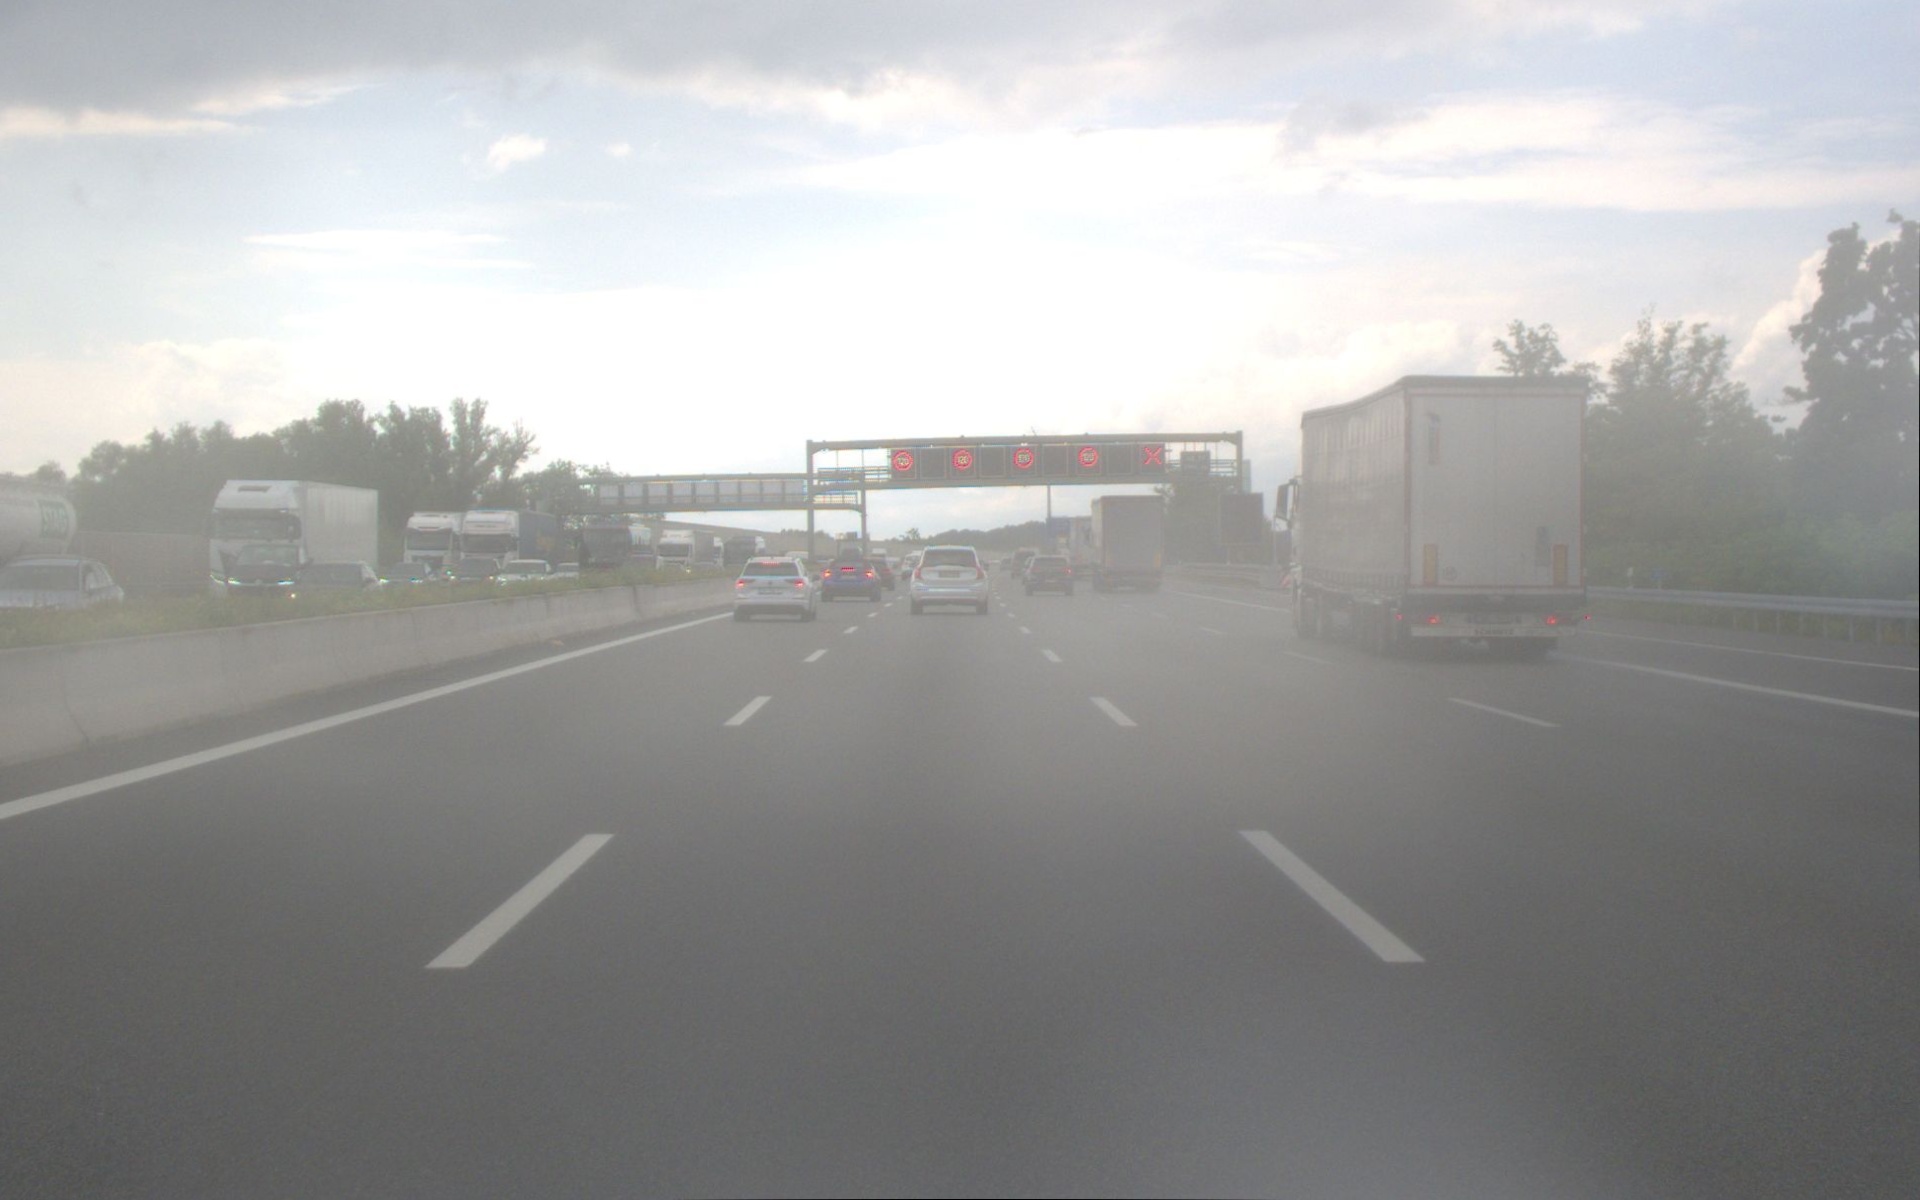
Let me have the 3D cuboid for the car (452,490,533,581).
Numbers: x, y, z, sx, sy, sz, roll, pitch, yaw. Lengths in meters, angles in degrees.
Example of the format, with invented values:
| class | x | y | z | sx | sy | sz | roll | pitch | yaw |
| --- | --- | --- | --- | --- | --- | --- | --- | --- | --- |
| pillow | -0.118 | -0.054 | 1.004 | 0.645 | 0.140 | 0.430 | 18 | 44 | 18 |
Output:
| class | x | y | z | sx | sy | sz | roll | pitch | yaw |
| --- | --- | --- | --- | --- | --- | --- | --- | --- | --- |
| car | -21.868 | -3.008 | 161.047 | 2.982 | 4.135 | 6.043 | 1 | 1 | -1 |

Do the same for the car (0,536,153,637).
| class | x | y | z | sx | sy | sz | roll | pitch | yaw |
| --- | --- | --- | --- | --- | --- | --- | --- | --- | --- |
| car | -14.166 | -0.238 | 54.105 | 1.993 | 1.521 | 4.741 | 0 | 1 | -2 |

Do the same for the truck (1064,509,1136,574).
| class | x | y | z | sx | sy | sz | roll | pitch | yaw |
| --- | --- | --- | --- | --- | --- | --- | --- | --- | --- |
| truck | 9.167 | -3.832 | 226.643 | 4.244 | 4.162 | 11.989 | 1 | 1 | 0 |

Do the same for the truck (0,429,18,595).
| class | x | y | z | sx | sy | sz | roll | pitch | yaw |
| --- | --- | --- | --- | --- | --- | --- | --- | --- | --- |
| truck | -26.815 | -2.283 | 87.083 | 3.660 | 4.304 | 8.238 | 1 | 1 | 0 |

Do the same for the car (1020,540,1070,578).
| class | x | y | z | sx | sy | sz | roll | pitch | yaw |
| --- | --- | --- | --- | --- | --- | --- | --- | --- | --- |
| car | 3.271 | -1.575 | 132.158 | 1.836 | 1.436 | 4.055 | 0 | 1 | 0 |

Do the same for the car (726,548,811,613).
| class | x | y | z | sx | sy | sz | roll | pitch | yaw |
| --- | --- | --- | --- | --- | --- | --- | --- | --- | --- |
| car | -4.339 | -0.465 | 78.224 | 1.772 | 1.436 | 3.874 | 0 | 1 | -1 |

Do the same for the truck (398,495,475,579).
| class | x | y | z | sx | sy | sz | roll | pitch | yaw |
| --- | --- | --- | --- | --- | --- | --- | --- | --- | --- |
| truck | -26.307 | -3.174 | 172.994 | 2.900 | 4.102 | 6.623 | 1 | 1 | -1 |

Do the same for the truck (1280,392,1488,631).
| class | x | y | z | sx | sy | sz | roll | pitch | yaw |
| --- | --- | --- | --- | --- | --- | --- | --- | --- | --- |
| truck | 7.452 | -1.557 | 61.232 | 2.961 | 4.006 | 6.589 | 0 | 1 | 1 |

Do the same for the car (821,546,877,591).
| class | x | y | z | sx | sy | sz | roll | pitch | yaw |
| --- | --- | --- | --- | --- | --- | --- | --- | --- | --- |
| car | -3.616 | -1.048 | 112.231 | 1.772 | 1.436 | 4.056 | 0 | 1 | -1 |

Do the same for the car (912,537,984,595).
| class | x | y | z | sx | sy | sz | roll | pitch | yaw |
| --- | --- | --- | --- | --- | --- | --- | --- | --- | --- |
| car | -0.328 | -0.885 | 87.886 | 1.772 | 1.436 | 4.056 | 0 | 1 | -1 |

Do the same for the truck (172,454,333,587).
| class | x | y | z | sx | sy | sz | roll | pitch | yaw |
| --- | --- | --- | --- | --- | --- | --- | --- | --- | --- |
| truck | -22.354 | -2.483 | 109.004 | 3.660 | 4.034 | 6.524 | 1 | 1 | 0 |

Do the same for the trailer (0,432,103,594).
| class | x | y | z | sx | sy | sz | roll | pitch | yaw |
| --- | --- | --- | --- | --- | --- | --- | --- | --- | --- |
| trailer | -26.888 | -2.359 | 94.392 | 3.660 | 4.222 | 12.468 | 1 | 1 | 0 |

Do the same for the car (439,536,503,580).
| class | x | y | z | sx | sy | sz | roll | pitch | yaw |
| --- | --- | --- | --- | --- | --- | --- | --- | --- | --- |
| car | -18.032 | -1.558 | 126.961 | 1.787 | 1.557 | 4.565 | 1 | 1 | -1 |

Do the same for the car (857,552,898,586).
| class | x | y | z | sx | sy | sz | roll | pitch | yaw |
| --- | --- | --- | --- | --- | --- | --- | --- | --- | --- |
| car | -3.609 | -1.345 | 150.254 | 1.772 | 1.436 | 4.056 | 0 | 1 | -2 |

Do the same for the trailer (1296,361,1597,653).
| class | x | y | z | sx | sy | sz | roll | pitch | yaw |
| --- | --- | --- | --- | --- | --- | --- | --- | --- | --- |
| trailer | 7.386 | -1.413 | 54.432 | 2.961 | 4.006 | 14.118 | 0 | 1 | 1 |

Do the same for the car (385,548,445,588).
| class | x | y | z | sx | sy | sz | roll | pitch | yaw |
| --- | --- | --- | --- | --- | --- | --- | --- | --- | --- |
| car | -22.111 | -1.311 | 139.579 | 1.787 | 1.586 | 4.385 | 1 | 1 | -1 |

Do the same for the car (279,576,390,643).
| class | x | y | z | sx | sy | sz | roll | pitch | yaw |
| --- | --- | --- | --- | --- | --- | --- | --- | --- | --- |
| car | -14.354 | 0.199 | 79.102 | 1.787 | 1.449 | 4.565 | 1 | 1 | -1 |

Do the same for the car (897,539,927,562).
| class | x | y | z | sx | sy | sz | roll | pitch | yaw |
| --- | --- | --- | --- | --- | --- | --- | --- | --- | --- |
| car | -3.051 | -3.166 | 218.787 | 1.772 | 1.436 | 4.055 | 0 | 1 | 0 |

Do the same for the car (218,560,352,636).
| class | x | y | z | sx | sy | sz | roll | pitch | yaw |
| --- | --- | --- | --- | --- | --- | --- | --- | --- | --- |
| car | -18.337 | -0.082 | 93.695 | 2.280 | 1.961 | 6.086 | 1 | 1 | 1 |

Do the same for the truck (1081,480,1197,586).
| class | x | y | z | sx | sy | sz | roll | pitch | yaw |
| --- | --- | --- | --- | --- | --- | --- | --- | --- | --- |
| truck | 7.580 | -2.843 | 147.440 | 4.180 | 4.273 | 12.613 | 1 | 1 | 0 |
